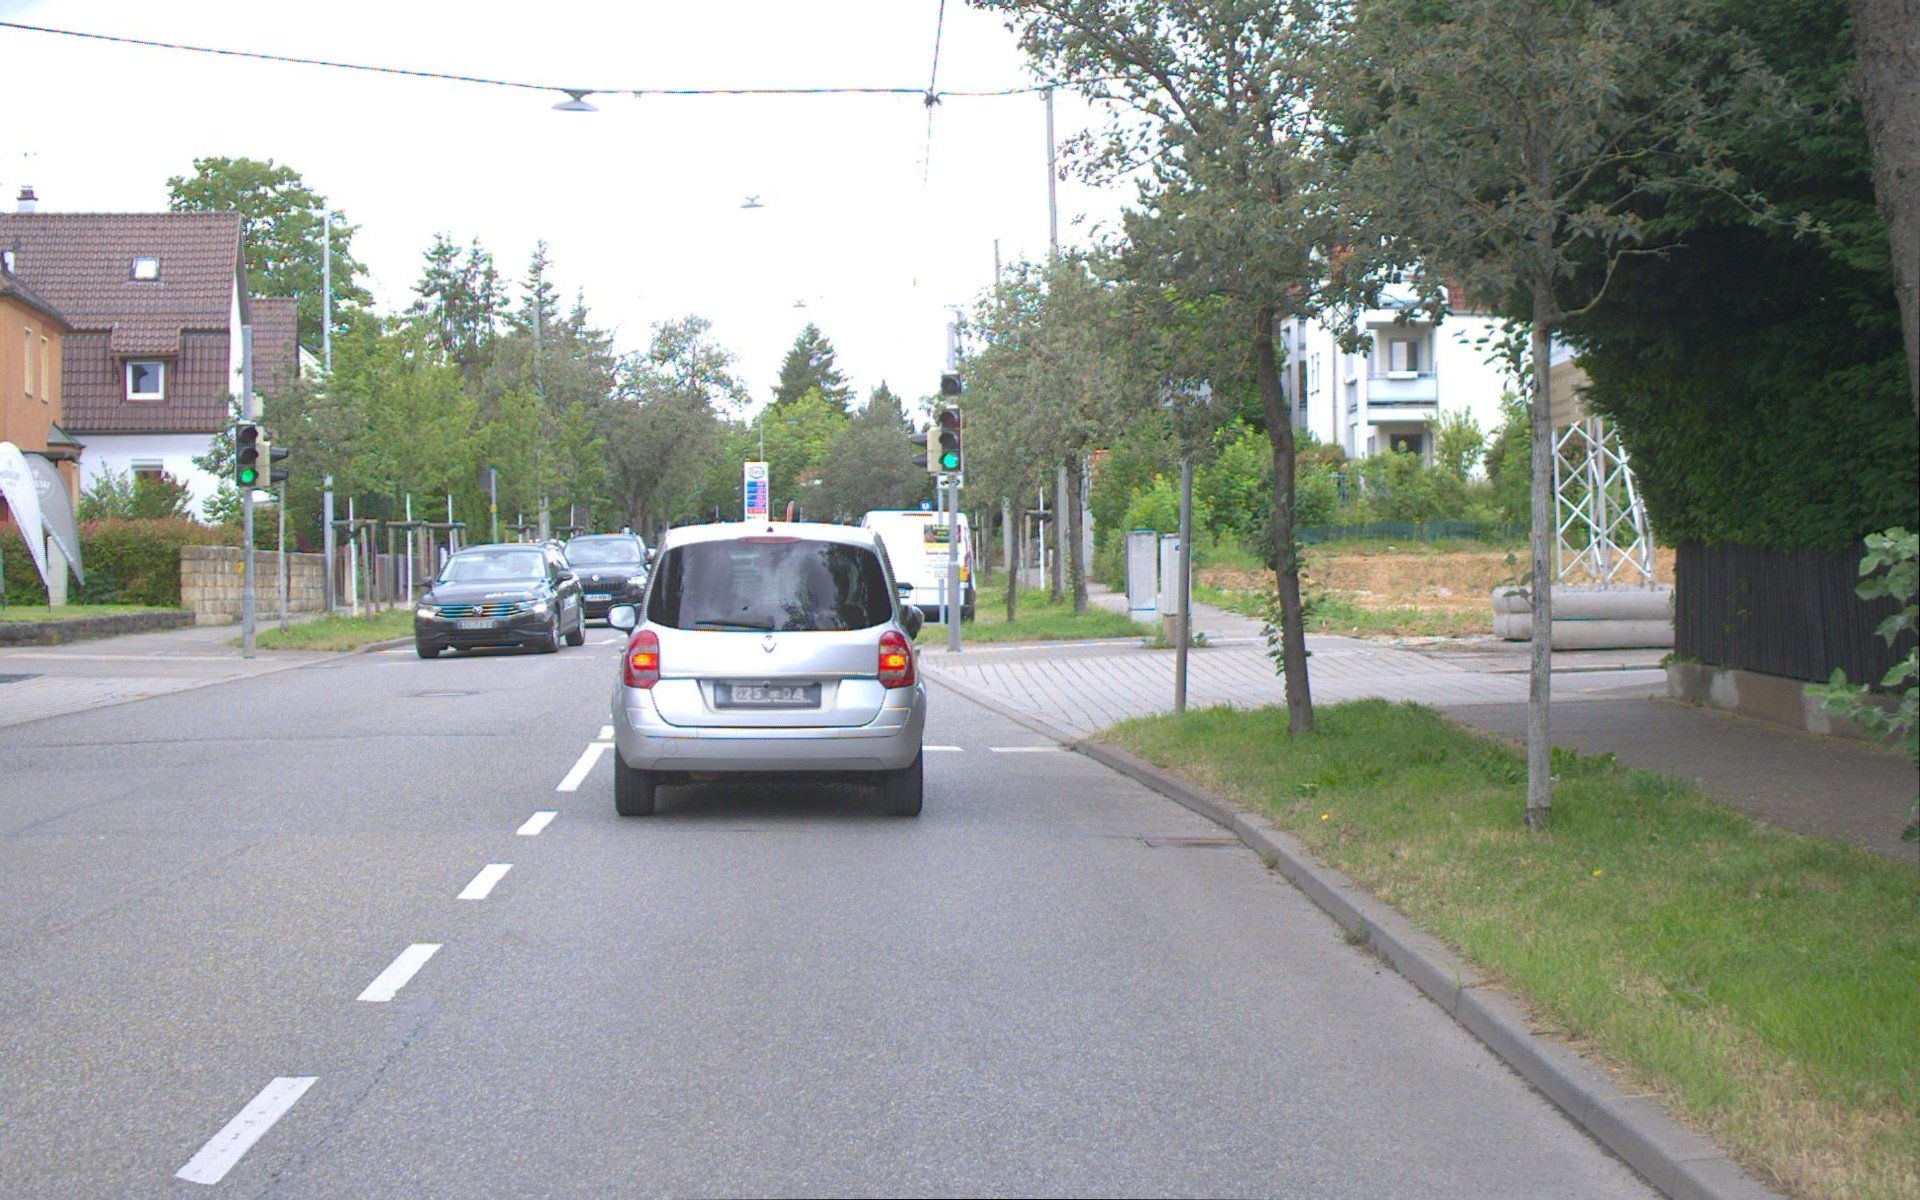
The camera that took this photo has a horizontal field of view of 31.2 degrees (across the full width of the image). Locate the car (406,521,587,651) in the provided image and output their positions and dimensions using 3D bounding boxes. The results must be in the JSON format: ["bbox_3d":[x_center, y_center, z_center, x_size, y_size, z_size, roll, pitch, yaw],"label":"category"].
[{"bbox_3d":[-6.198,-0.231,46.403,1.993,1.615,4.648,-1,1,-3],"label":"car"}]

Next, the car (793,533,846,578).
[{"bbox_3d":[-5.622,-1.802,137.384,1.835,1.708,4.001,-2,1,-6],"label":"car"}]

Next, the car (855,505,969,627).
[{"bbox_3d":[-0.848,-0.600,57.573,1.775,1.937,4.789,0,1,-2],"label":"car"}]

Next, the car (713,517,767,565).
[{"bbox_3d":[-8.173,-2.197,127.946,1.813,1.687,4.466,-2,1,-2],"label":"car"}]

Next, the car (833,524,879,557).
[{"bbox_3d":[-4.718,-2.699,155.527,1.626,1.447,3.877,-1,1,-8],"label":"car"}]

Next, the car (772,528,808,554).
[{"bbox_3d":[-10.024,-3.495,202.509,1.695,1.501,3.974,-1,1,-10],"label":"car"}]

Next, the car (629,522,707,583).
[{"bbox_3d":[-7.438,-1.228,87.737,1.616,1.467,4.000,-2,1,0],"label":"car"}]

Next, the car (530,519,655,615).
[{"bbox_3d":[-6.427,-0.605,60.508,1.895,1.619,4.001,-1,1,-2],"label":"car"}]

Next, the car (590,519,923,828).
[{"bbox_3d":[-1.089,0.341,19.388,1.679,1.554,3.512,1,1,-2],"label":"car"}]
